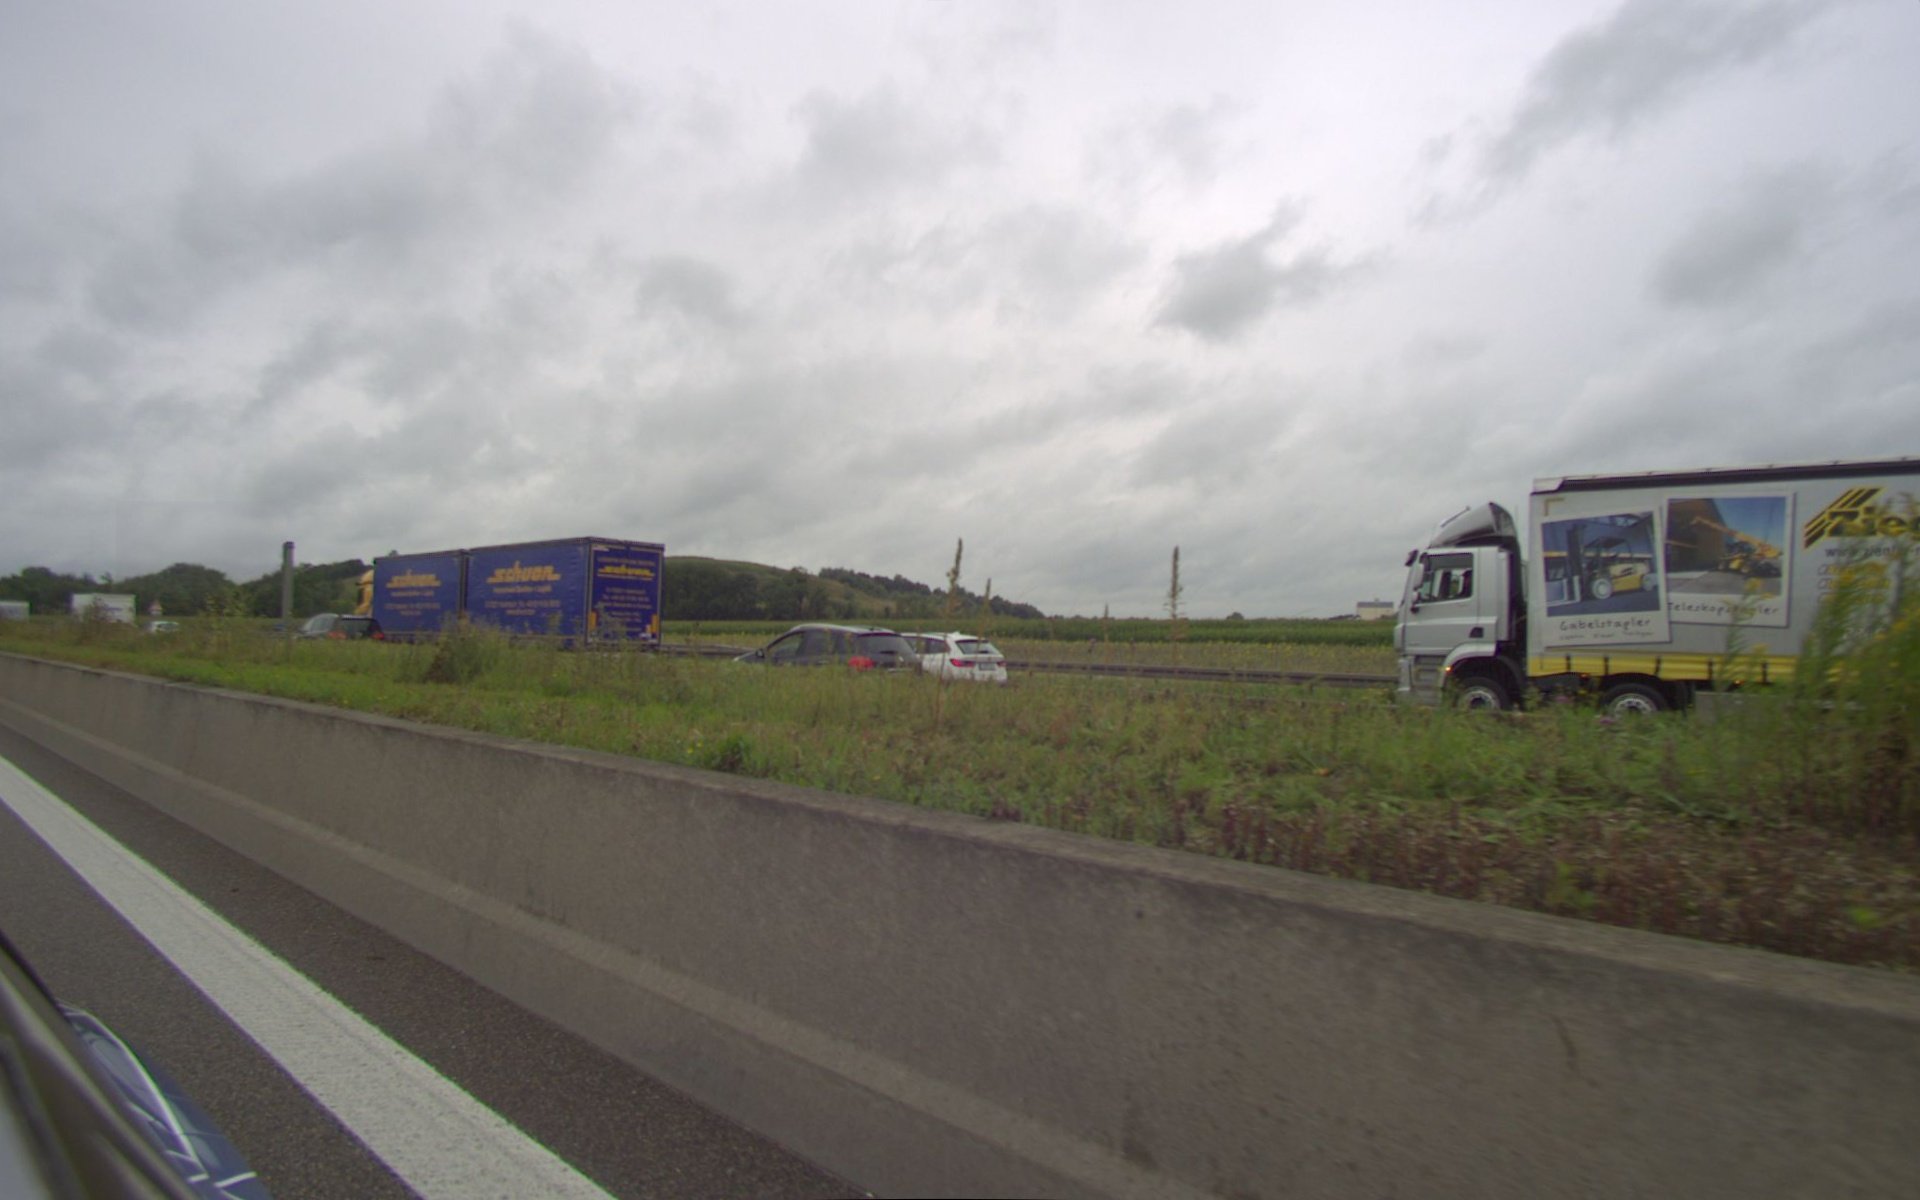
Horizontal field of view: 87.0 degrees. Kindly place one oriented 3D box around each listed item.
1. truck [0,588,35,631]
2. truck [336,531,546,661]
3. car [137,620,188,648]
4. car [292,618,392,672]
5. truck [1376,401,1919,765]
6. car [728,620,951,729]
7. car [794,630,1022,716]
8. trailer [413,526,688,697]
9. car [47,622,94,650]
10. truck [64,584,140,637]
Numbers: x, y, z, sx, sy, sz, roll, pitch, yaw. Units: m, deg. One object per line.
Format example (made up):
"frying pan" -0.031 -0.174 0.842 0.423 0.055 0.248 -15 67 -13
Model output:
"truck" -106.878 1.083 113.725 9.667 4.684 3.192 -1 0 40
"truck" -20.246 -0.107 39.011 10.985 4.396 3.377 -1 0 41
"car" -53.246 2.251 67.560 3.998 1.696 1.973 -1 0 41
"car" -21.703 1.544 35.492 3.998 1.798 1.847 -1 -2 41
"truck" 12.531 -0.223 14.354 11.776 4.517 3.477 -1 0 40
"car" -2.212 1.224 17.986 3.998 1.721 1.736 -1 -2 41
"car" -1.220 1.473 21.756 5.011 1.628 1.863 -1 -2 40
"trailer" -13.917 0.402 33.563 11.671 4.804 3.353 -1 0 40
"car" -58.654 2.341 66.693 3.998 1.665 1.797 -1 0 41
"truck" -69.359 0.836 81.699 10.806 3.997 3.150 -1 0 42
